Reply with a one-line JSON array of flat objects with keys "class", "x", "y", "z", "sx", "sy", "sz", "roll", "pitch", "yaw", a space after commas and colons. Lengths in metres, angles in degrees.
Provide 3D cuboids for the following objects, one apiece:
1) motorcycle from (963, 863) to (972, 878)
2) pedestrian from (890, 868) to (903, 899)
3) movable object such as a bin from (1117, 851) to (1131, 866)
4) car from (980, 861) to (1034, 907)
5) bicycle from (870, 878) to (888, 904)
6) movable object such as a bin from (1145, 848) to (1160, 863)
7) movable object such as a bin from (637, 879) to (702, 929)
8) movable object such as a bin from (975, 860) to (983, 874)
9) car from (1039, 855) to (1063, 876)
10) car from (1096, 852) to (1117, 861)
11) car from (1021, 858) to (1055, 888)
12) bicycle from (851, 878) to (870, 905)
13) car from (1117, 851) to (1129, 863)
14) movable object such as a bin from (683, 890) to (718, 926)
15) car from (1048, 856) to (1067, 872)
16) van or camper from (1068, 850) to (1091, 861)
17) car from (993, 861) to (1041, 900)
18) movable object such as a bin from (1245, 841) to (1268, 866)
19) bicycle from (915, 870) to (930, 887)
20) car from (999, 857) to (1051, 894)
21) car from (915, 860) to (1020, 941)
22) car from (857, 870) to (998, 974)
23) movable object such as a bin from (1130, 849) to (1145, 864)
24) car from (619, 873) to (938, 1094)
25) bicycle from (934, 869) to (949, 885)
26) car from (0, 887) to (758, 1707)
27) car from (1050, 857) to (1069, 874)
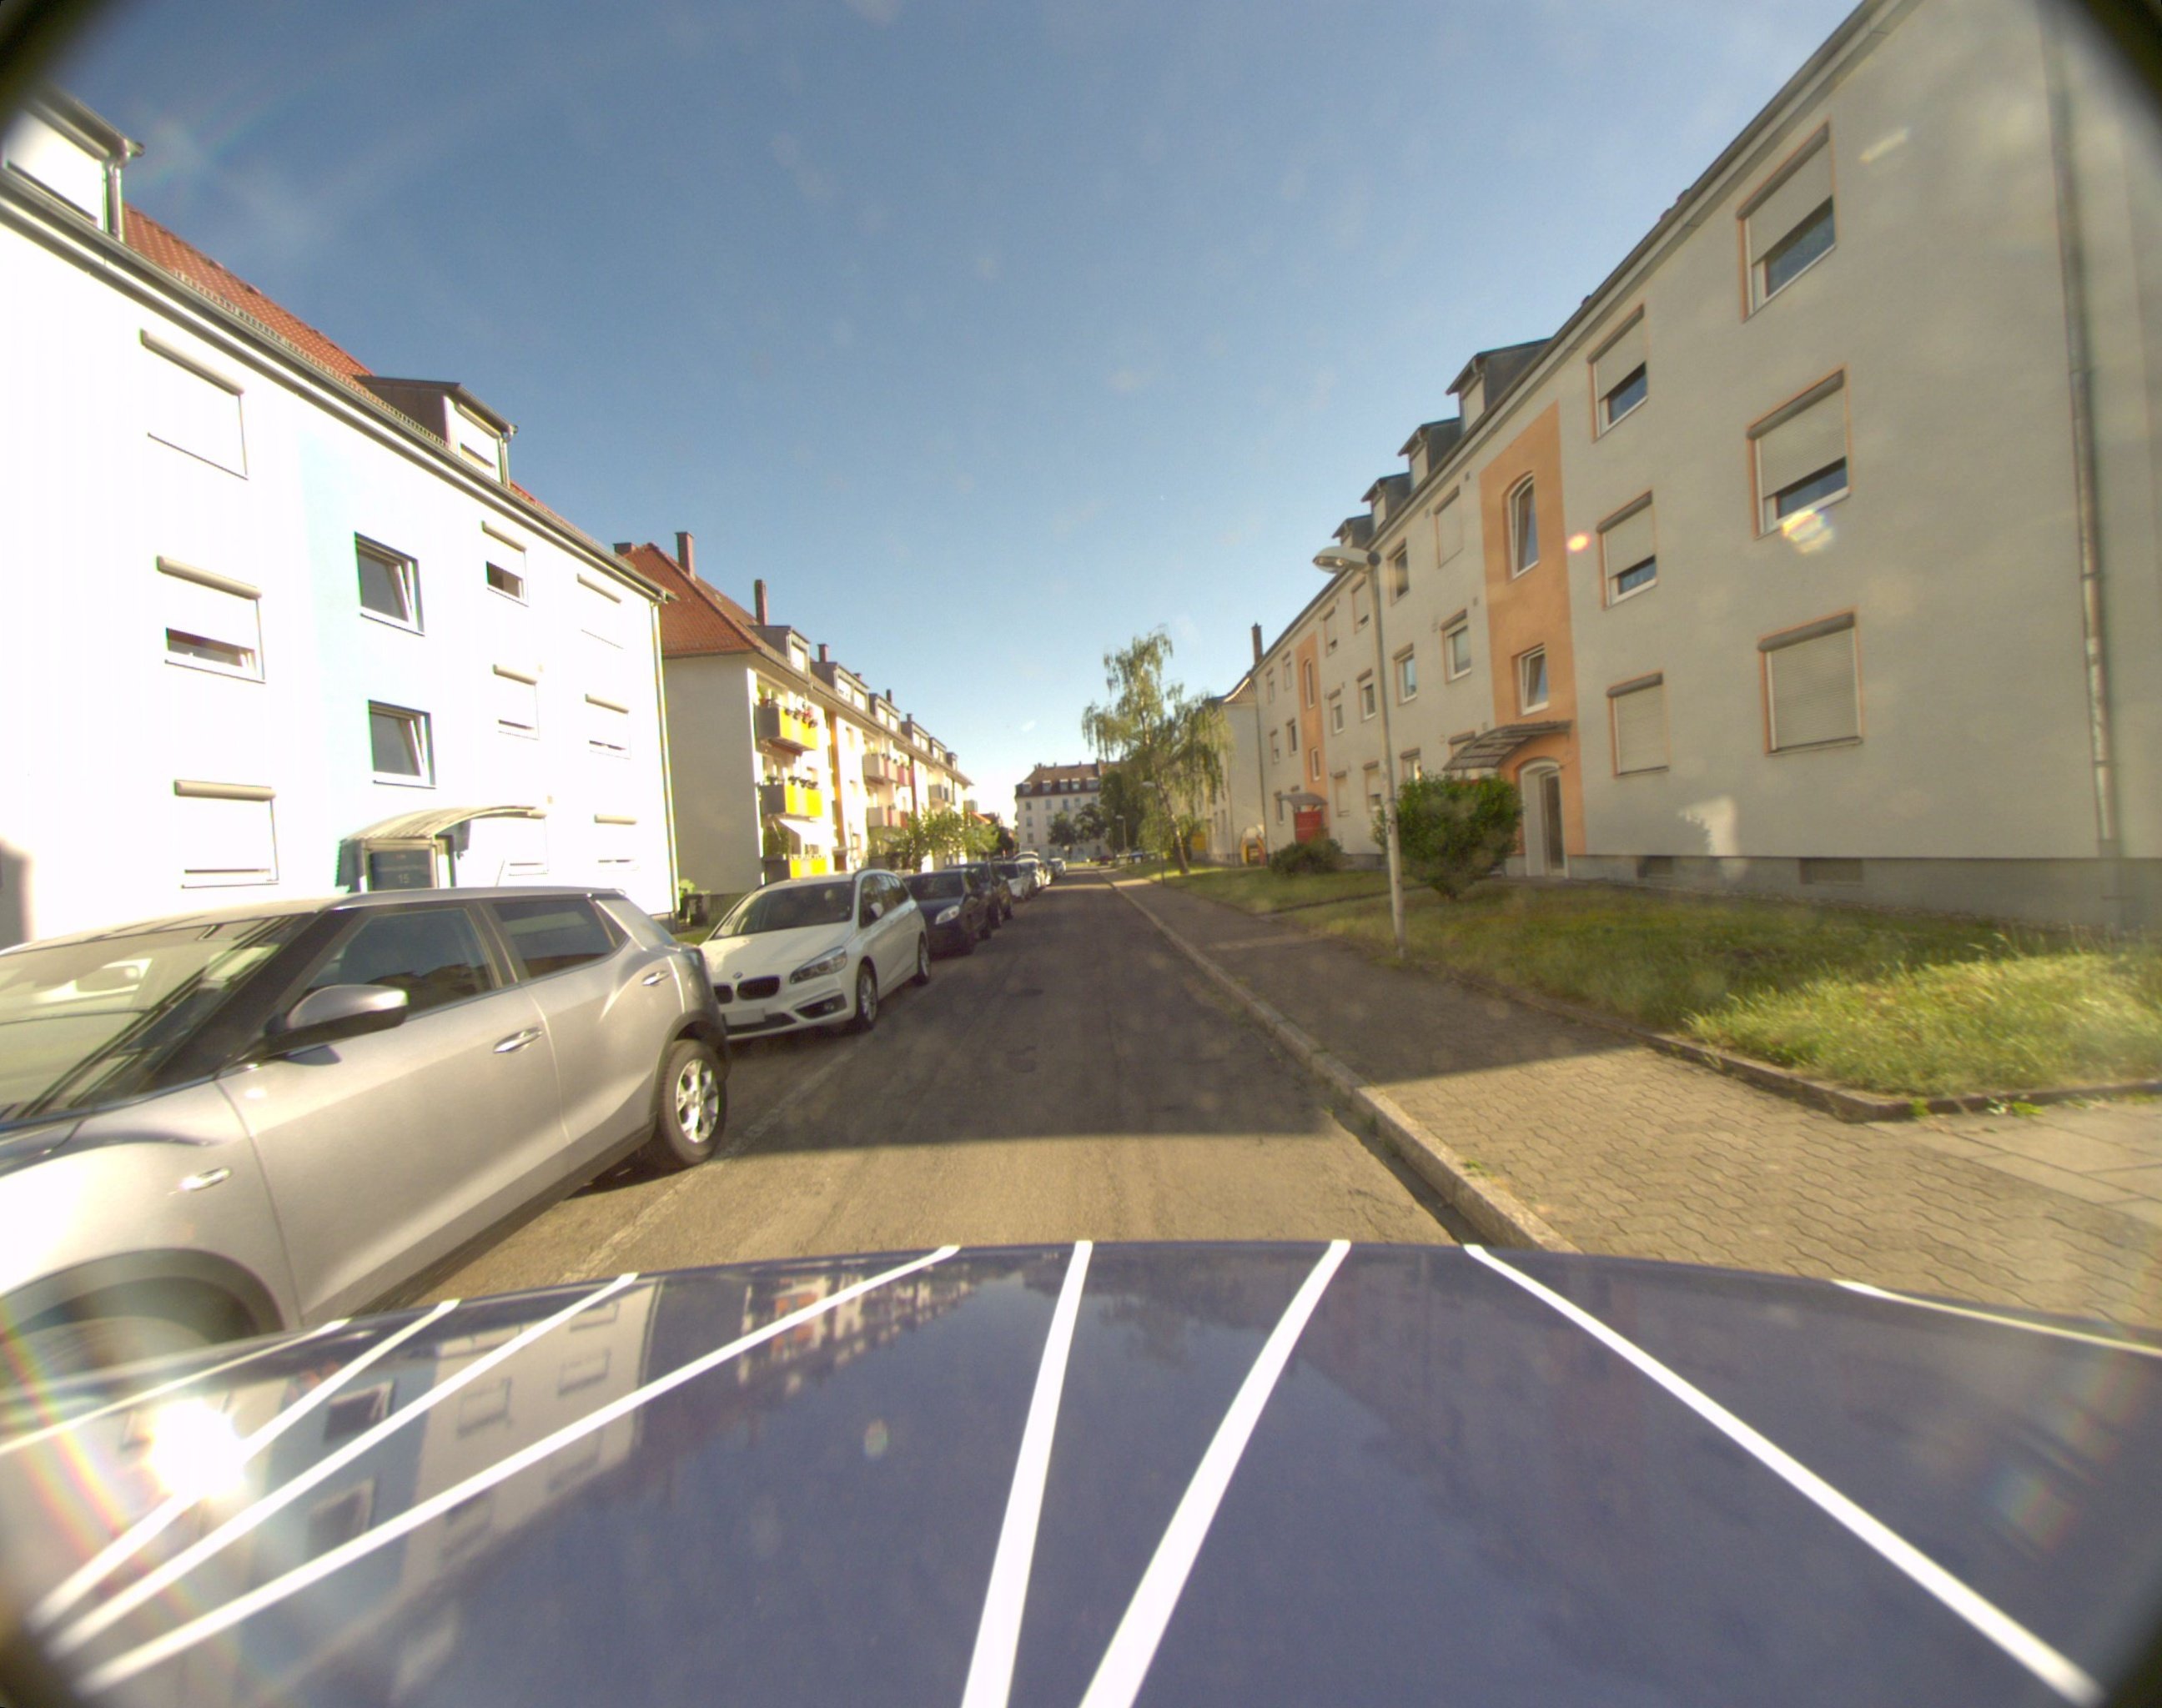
[{"class": "motorcycle", "x": -10.349, "y": 1.495, "z": 69.110, "sx": 0.442, "sy": 1.231, "sz": 1.976, "roll": -2, "pitch": 0, "yaw": 0}, {"class": "pedestrian", "x": -9.002, "y": 1.437, "z": 37.160, "sx": 0.451, "sy": 1.486, "sz": 0.360, "roll": -3, "pitch": 2, "yaw": 1}, {"class": "movable object such as a bin", "x": 4.656, "y": 0.481, "z": 82.065, "sx": 1.318, "sy": 1.451, "sz": 1.198, "roll": -7, "pitch": 1, "yaw": 0}, {"class": "car", "x": -2.834, "y": 1.126, "z": 29.577, "sx": 1.483, "sy": 1.520, "sz": 2.941, "roll": -6, "pitch": 0, "yaw": 4}, {"class": "bicycle", "x": -9.001, "y": 1.629, "z": 33.902, "sx": 0.404, "sy": 1.080, "sz": 1.299, "roll": -2, "pitch": 0, "yaw": 1}, {"class": "movable object such as a bin", "x": 7.748, "y": 0.126, "z": 82.146, "sx": 1.363, "sy": 1.445, "sz": 1.073, "roll": -8, "pitch": 1, "yaw": 0}, {"class": "movable object such as a bin", "x": -12.818, "y": 1.546, "z": 23.691, "sx": 1.331, "sy": 1.399, "sz": 1.106, "roll": -2, "pitch": 3, "yaw": 1}, {"class": "movable object such as a bin", "x": -12.038, "y": 1.519, "z": 89.654, "sx": 0.866, "sy": 1.511, "sz": 0.922, "roll": -3, "pitch": 1, "yaw": -1}, {"class": "car", "x": -2.507, "y": 0.900, "z": 63.343, "sx": 1.717, "sy": 1.501, "sz": 3.853, "roll": -6, "pitch": 0, "yaw": -1}, {"class": "car", "x": 4.884, "y": 0.503, "z": 147.373, "sx": 3.996, "sy": 1.477, "sz": 1.722, "roll": -3, "pitch": 0, "yaw": 2}, {"class": "car", "x": -2.509, "y": 1.094, "z": 45.174, "sx": 1.777, "sy": 1.496, "sz": 4.480, "roll": -4, "pitch": 0, "yaw": -2}, {"class": "bicycle", "x": -9.902, "y": 1.665, "z": 34.126, "sx": 0.404, "sy": 1.126, "sz": 1.273, "roll": -3, "pitch": 0, "yaw": 1}, {"class": "car", "x": 6.371, "y": 0.439, "z": 115.108, "sx": 1.678, "sy": 1.645, "sz": 3.305, "roll": -3, "pitch": 0, "yaw": 4}, {"class": "movable object such as a bin", "x": -11.813, "y": 1.678, "z": 23.607, "sx": 0.644, "sy": 1.029, "sz": 0.757, "roll": -2, "pitch": 3, "yaw": 1}, {"class": "car", "x": -2.283, "y": 0.976, "z": 75.413, "sx": 1.695, "sy": 1.410, "sz": 4.097, "roll": -6, "pitch": 0, "yaw": -1}, {"class": "van or camper", "x": -0.295, "y": 0.350, "z": 147.715, "sx": 4.355, "sy": 1.852, "sz": 2.000, "roll": -3, "pitch": 0, "yaw": -2}, {"class": "car", "x": -2.800, "y": 1.134, "z": 33.848, "sx": 1.698, "sy": 1.482, "sz": 3.984, "roll": -5, "pitch": 0, "yaw": -1}, {"class": "movable object such as a bin", "x": 10.213, "y": -0.036, "z": 44.177, "sx": 1.087, "sy": 1.398, "sz": 0.813, "roll": -4, "pitch": 0, "yaw": 1}, {"class": "bicycle", "x": -10.733, "y": 1.666, "z": 51.586, "sx": 0.521, "sy": 1.031, "sz": 1.975, "roll": -2, "pitch": 0, "yaw": 1}, {"class": "car", "x": -2.792, "y": 1.048, "z": 39.172, "sx": 1.998, "sy": 1.603, "sz": 4.996, "roll": -5, "pitch": 0, "yaw": 2}, {"class": "car", "x": -2.742, "y": 1.071, "z": 19.399, "sx": 1.787, "sy": 1.638, "sz": 4.469, "roll": -5, "pitch": 0, "yaw": 1}, {"class": "car", "x": -2.694, "y": 1.136, "z": 14.302, "sx": 1.645, "sy": 1.489, "sz": 4.156, "roll": -3, "pitch": 0, "yaw": 1}, {"class": "movable object such as a bin", "x": 6.138, "y": 0.303, "z": 82.127, "sx": 1.358, "sy": 1.451, "sz": 1.082, "roll": -8, "pitch": 1, "yaw": 0}, {"class": "car", "x": -2.895, "y": 1.117, "z": 8.451, "sx": 1.695, "sy": 1.566, "sz": 4.434, "roll": -5, "pitch": 0, "yaw": -1}, {"class": "bicycle", "x": -9.418, "y": 1.538, "z": 51.449, "sx": 0.521, "sy": 1.042, "sz": 2.288, "roll": -1, "pitch": 0, "yaw": 1}, {"class": "car", "x": -2.970, "y": 1.094, "z": 2.616, "sx": 1.755, "sy": 1.608, "sz": 4.451, "roll": -6, "pitch": 0, "yaw": -2}, {"class": "car", "x": -2.298, "y": 1.227, "z": 80.729, "sx": 1.805, "sy": 1.583, "sz": 4.581, "roll": -5, "pitch": 0, "yaw": -1}]
